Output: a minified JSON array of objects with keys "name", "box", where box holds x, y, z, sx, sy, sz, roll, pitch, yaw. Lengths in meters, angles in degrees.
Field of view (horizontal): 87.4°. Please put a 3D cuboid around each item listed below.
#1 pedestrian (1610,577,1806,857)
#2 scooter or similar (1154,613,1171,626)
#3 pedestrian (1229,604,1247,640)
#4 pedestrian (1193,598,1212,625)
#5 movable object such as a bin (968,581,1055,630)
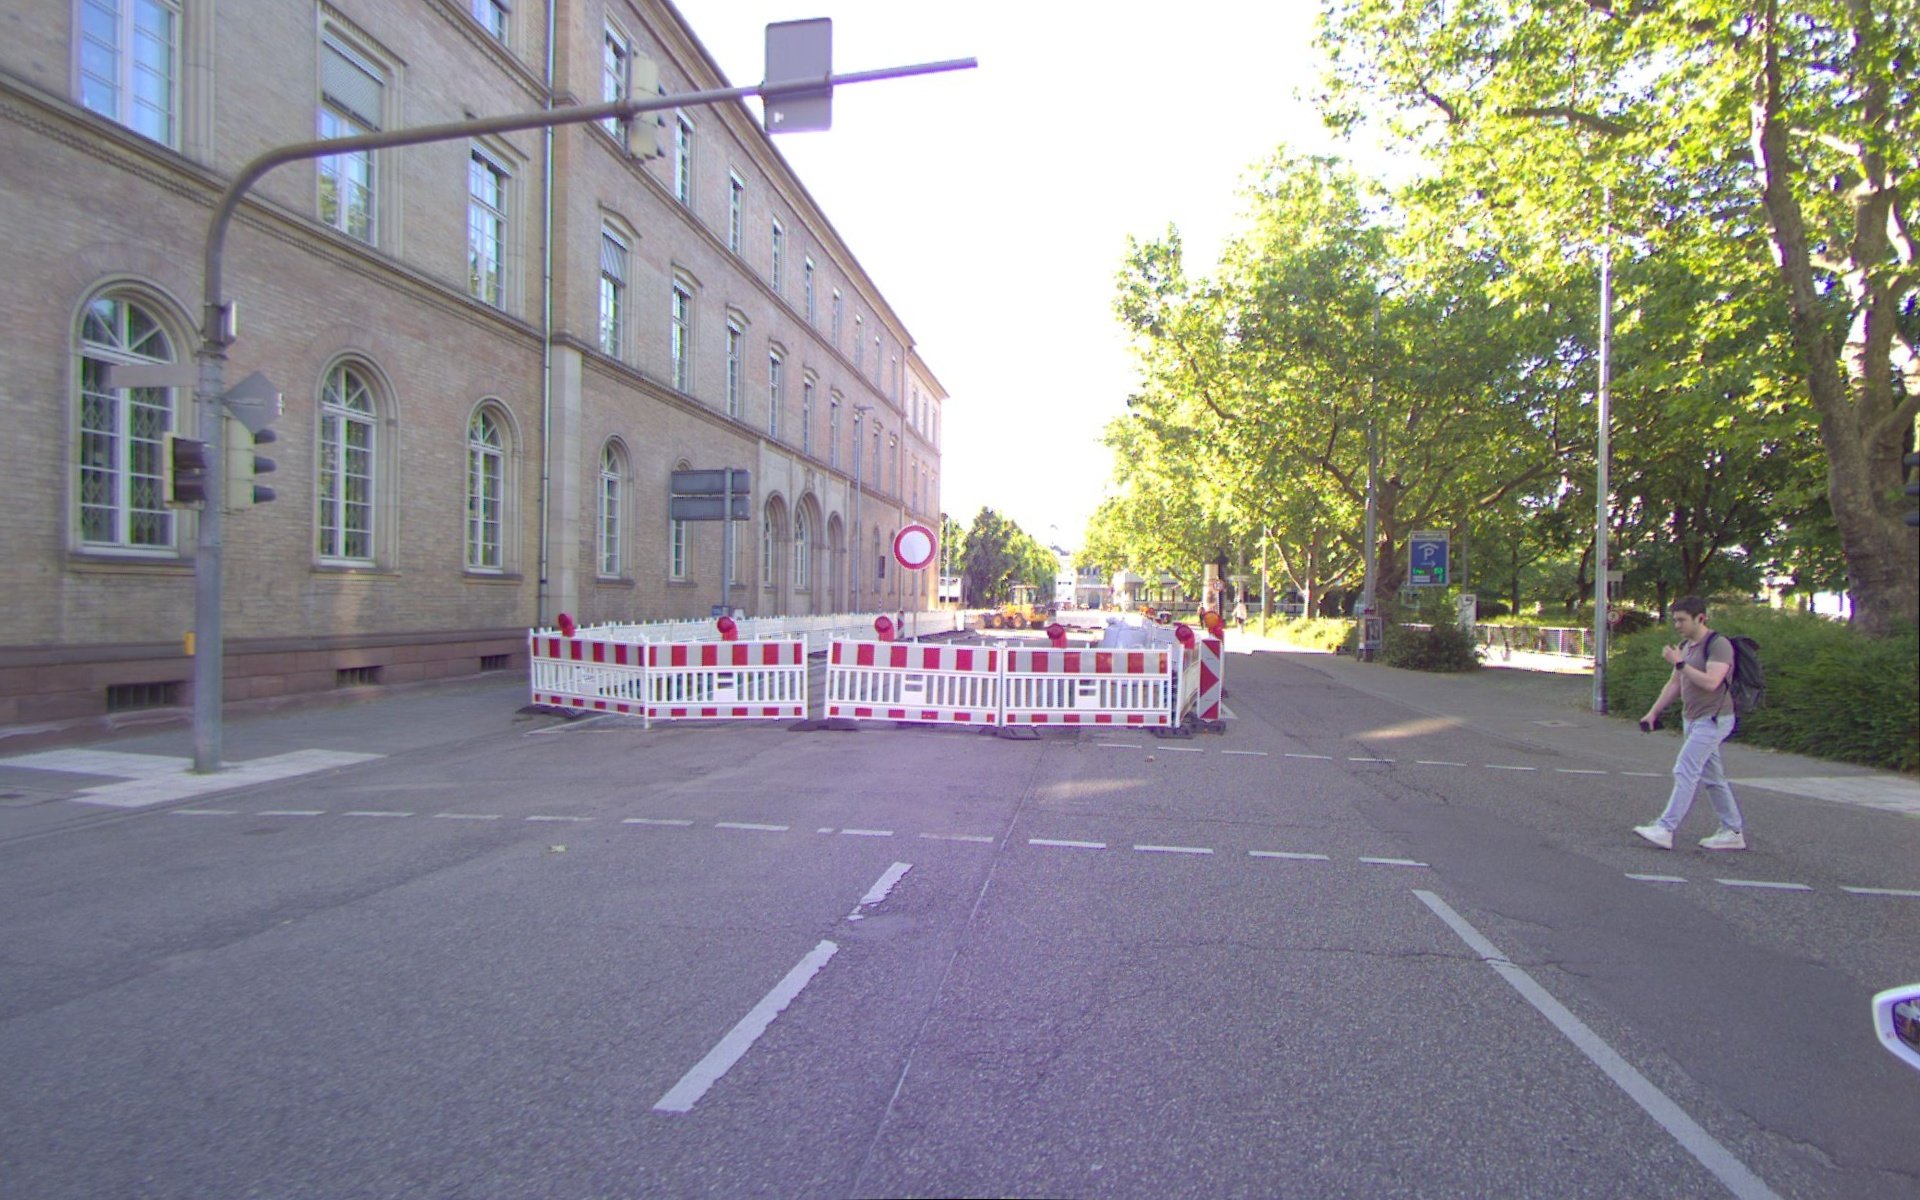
[{"name":"pedestrian","box":[5.124,0.752,6.947,0.867,1.795,0.748,1,1,18]},{"name":"scooter or similar","box":[14.618,1.435,72.614,1.128,0.926,0.419,-1,-1,1]},{"name":"pedestrian","box":[14.504,1.136,52.424,0.732,1.837,1.134,0,2,8]},{"name":"pedestrian","box":[14.757,0.703,61.110,0.700,1.645,0.934,1,-1,-23]},{"name":"movable object such as a bin","box":[3.279,0.372,65.791,2.544,3.072,5.867,0,0,-38]}]
